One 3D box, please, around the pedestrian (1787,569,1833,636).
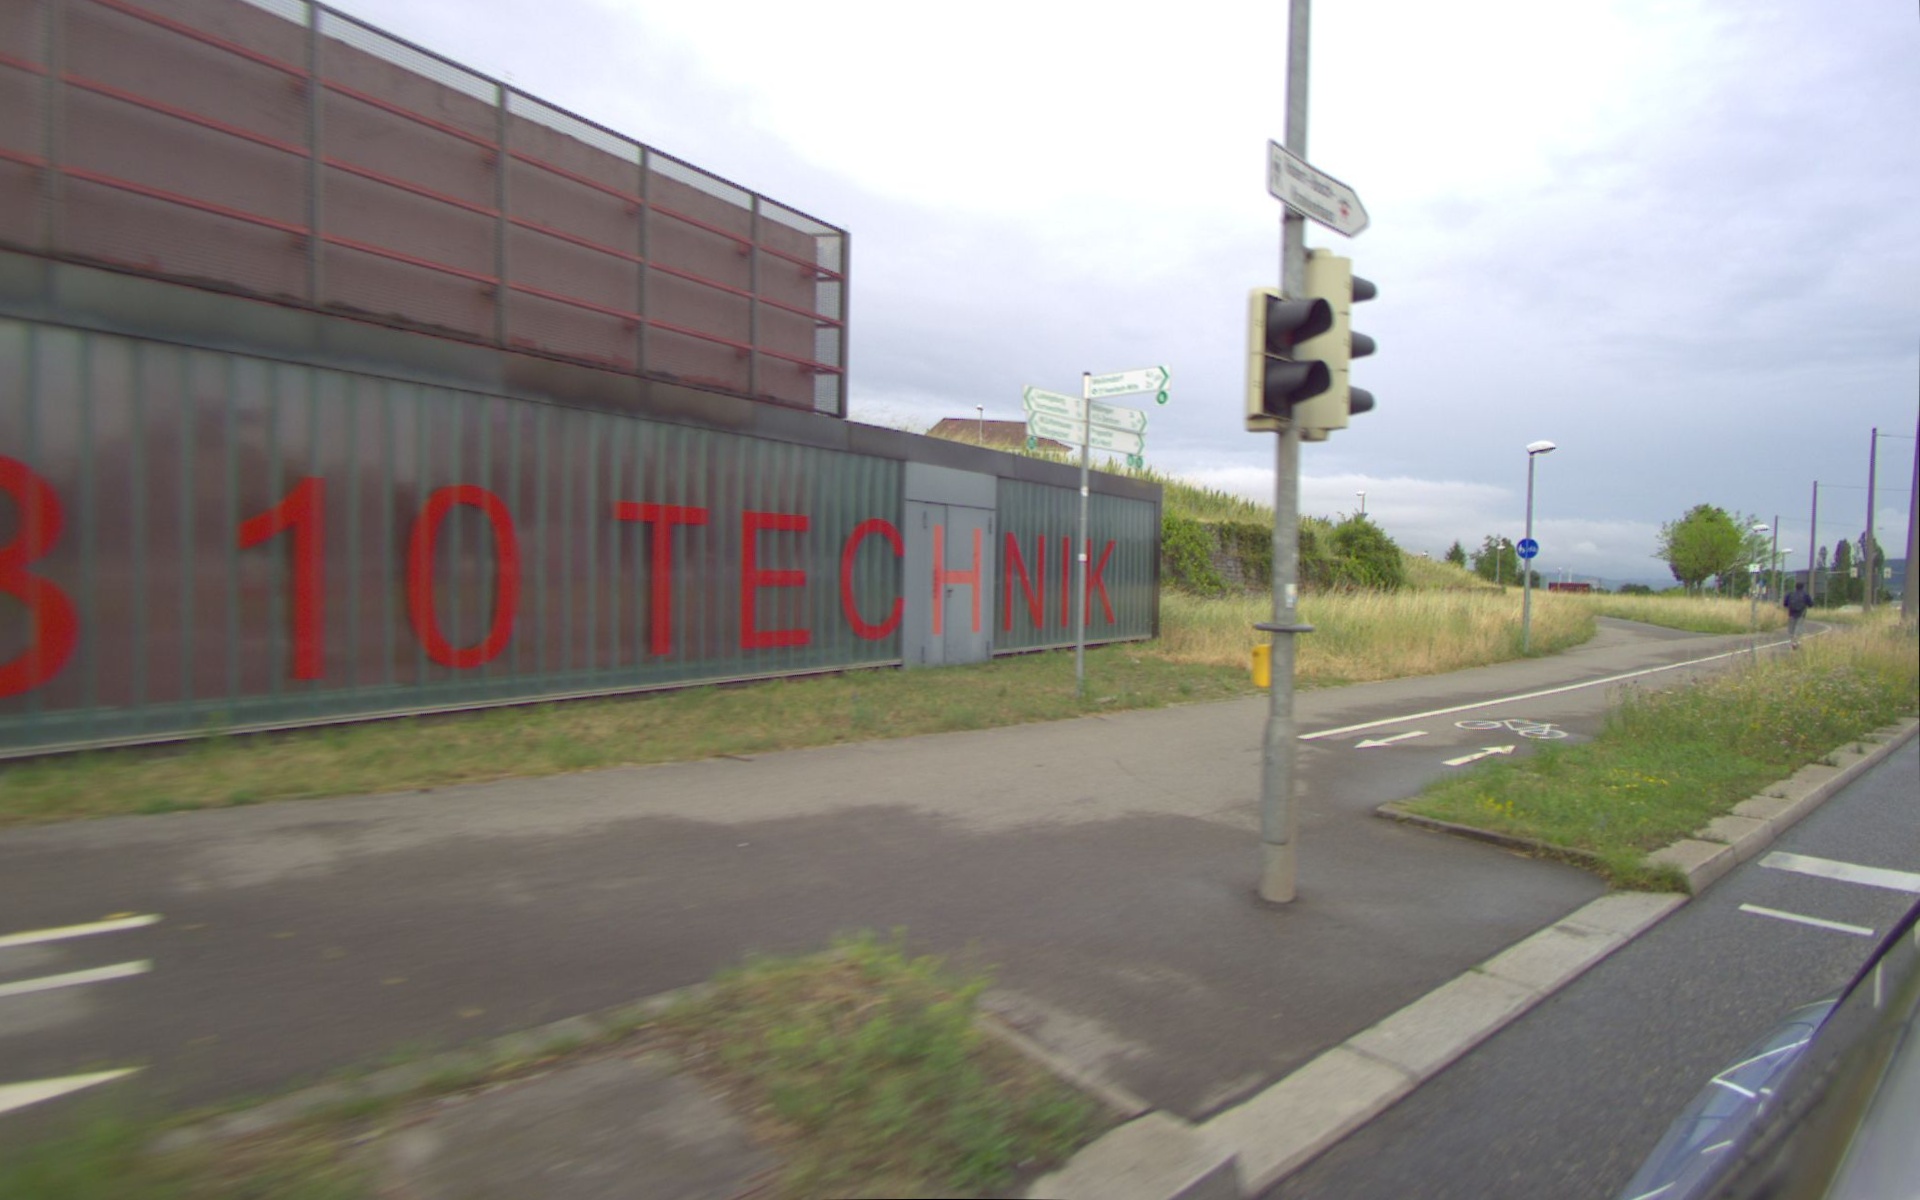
[{"bbox_3d":[22.766,0.067,27.113,0.794,1.745,0.977,-1,0,33],"label":"pedestrian"}]
